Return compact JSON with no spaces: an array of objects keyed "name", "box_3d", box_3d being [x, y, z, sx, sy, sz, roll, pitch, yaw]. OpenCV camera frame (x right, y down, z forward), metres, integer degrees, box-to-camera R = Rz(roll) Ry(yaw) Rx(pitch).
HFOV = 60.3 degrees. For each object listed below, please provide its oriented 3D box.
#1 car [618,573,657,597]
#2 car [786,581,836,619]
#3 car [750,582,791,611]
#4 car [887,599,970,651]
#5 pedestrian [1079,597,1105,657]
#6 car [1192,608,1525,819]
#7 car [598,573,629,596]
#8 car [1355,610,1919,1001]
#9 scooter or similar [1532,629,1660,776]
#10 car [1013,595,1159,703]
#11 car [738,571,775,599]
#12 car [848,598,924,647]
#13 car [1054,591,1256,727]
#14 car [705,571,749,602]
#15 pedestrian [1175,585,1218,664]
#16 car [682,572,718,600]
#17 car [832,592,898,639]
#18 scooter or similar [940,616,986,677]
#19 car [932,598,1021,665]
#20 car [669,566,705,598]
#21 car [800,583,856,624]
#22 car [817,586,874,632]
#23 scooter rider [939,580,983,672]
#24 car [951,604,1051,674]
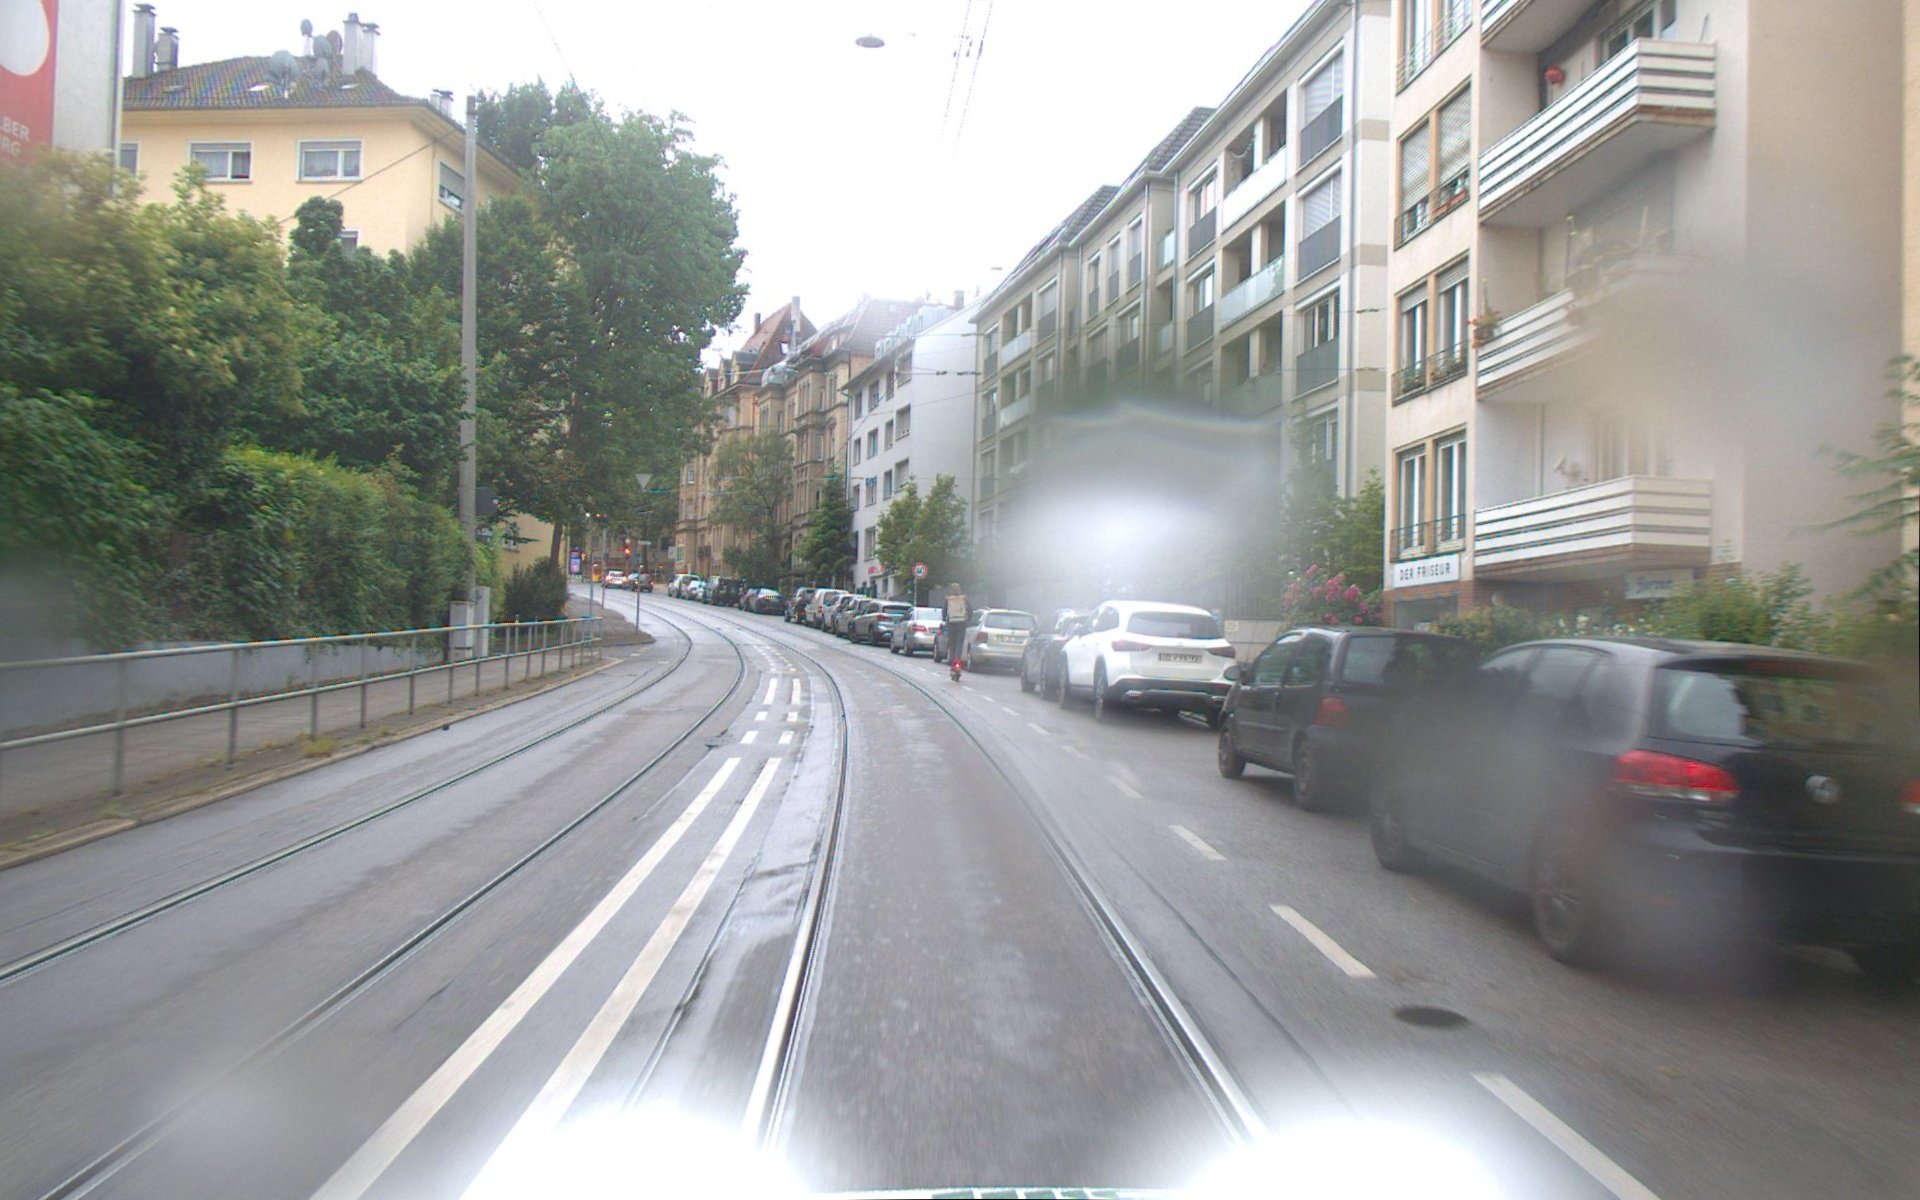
[{"name":"car","box_3d":[-26.990,-1.276,138.277,2.006,1.764,4.100,3,0,-29]},{"name":"car","box_3d":[-7.475,-0.012,82.425,1.737,1.713,4.232,3,0,-15]},{"name":"car","box_3d":[-10.978,-0.212,95.715,1.737,1.544,4.124,3,0,-15]},{"name":"car","box_3d":[-1.027,0.736,50.903,1.731,1.460,4.626,1,0,-11]},{"name":"pedestrian","box_3d":[3.486,0.706,43.709,0.558,1.569,0.650,-1,0,-5]},{"name":"car","box_3d":[3.292,0.867,14.532,1.526,1.462,4.299,2,0,-5]},{"name":"car","box_3d":[-30.081,-1.352,143.510,1.830,1.764,4.113,3,0,-21]},{"name":"car","box_3d":[3.490,0.850,8.660,1.650,1.462,4.062,2,0,-3]},{"name":"scooter or similar","box_3d":[5.900,0.925,15.391,0.461,1.256,1.193,-1,1,-19]},{"name":"car","box_3d":[2.055,0.764,28.276,1.669,1.538,4.566,5,0,-5]},{"name":"car","box_3d":[-12.408,-0.926,100.468,1.623,1.563,3.872,-1,2,-16]},{"name":"car","box_3d":[-2.737,0.793,60.503,1.739,1.643,4.227,1,0,-17]},{"name":"car","box_3d":[2.617,0.747,23.224,1.802,1.600,4.242,4,0,-7]},{"name":"car","box_3d":[-15.469,-0.918,109.672,1.997,1.856,4.345,3,0,-19]},{"name":"pedestrian","box_3d":[4.837,0.491,33.865,0.559,1.569,0.926,-1,0,-13]},{"name":"car","box_3d":[-18.950,-1.045,120.344,1.995,1.856,4.122,3,0,-16]},{"name":"car","box_3d":[-3.867,0.598,66.515,1.737,1.643,4.231,3,0,-15]},{"name":"scooter or similar","box_3d":[0.041,0.897,32.267,0.504,1.067,2.004,4,0,-10]},{"name":"car","box_3d":[0.393,0.803,43.885,1.670,1.538,3.706,3,0,-9]},{"name":"car","box_3d":[-20.720,-1.370,125.390,1.997,2.256,4.118,3,0,-18]},{"name":"car","box_3d":[-6.223,0.131,77.668,1.738,1.713,4.230,3,0,-16]},{"name":"car","box_3d":[-5.011,0.358,71.943,1.736,1.818,4.234,3,0,-13]},{"name":"scooter rider","box_3d":[0.013,0.494,32.249,0.612,1.735,0.842,4,0,-10]},{"name":"car","box_3d":[0.912,0.886,39.317,1.630,1.497,4.500,3,-1,-8]}]
